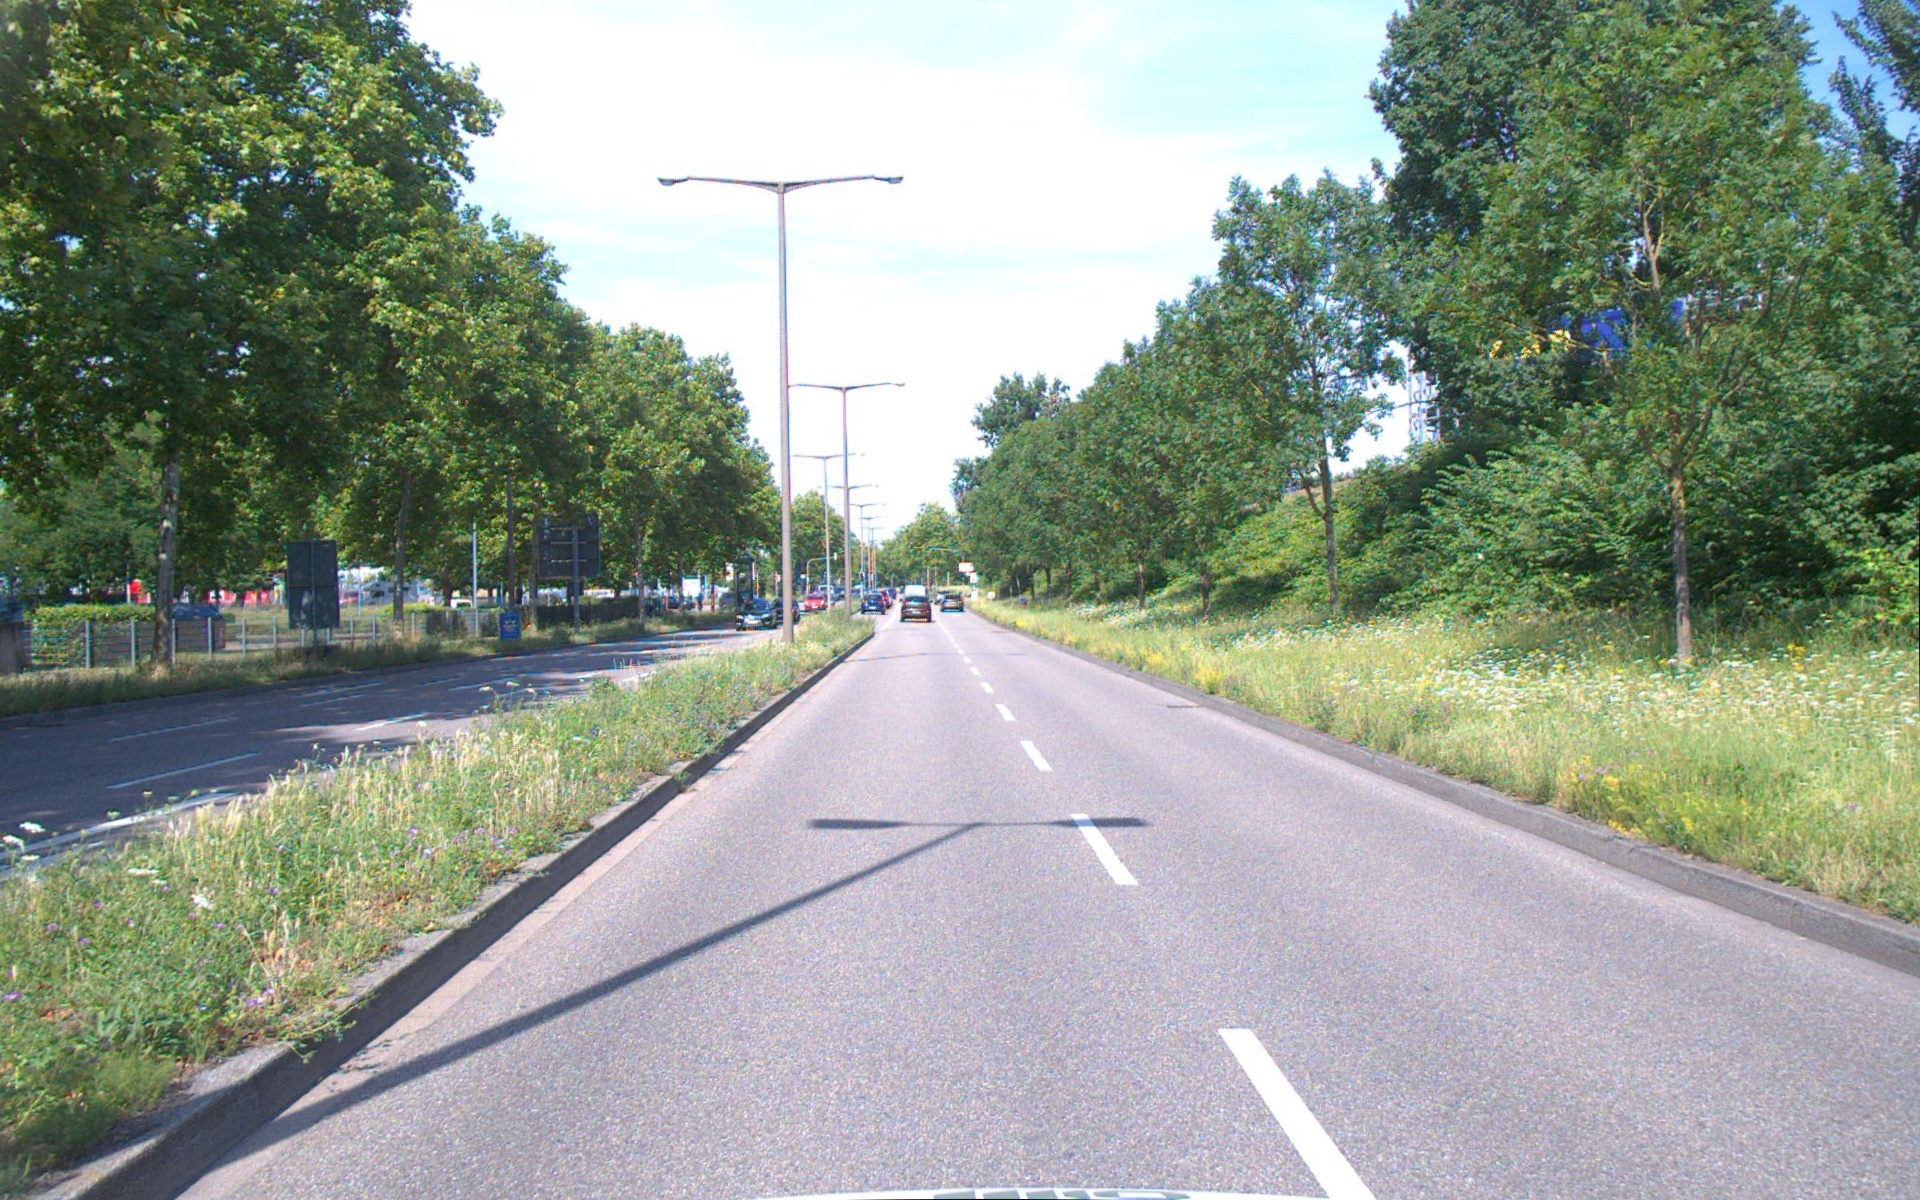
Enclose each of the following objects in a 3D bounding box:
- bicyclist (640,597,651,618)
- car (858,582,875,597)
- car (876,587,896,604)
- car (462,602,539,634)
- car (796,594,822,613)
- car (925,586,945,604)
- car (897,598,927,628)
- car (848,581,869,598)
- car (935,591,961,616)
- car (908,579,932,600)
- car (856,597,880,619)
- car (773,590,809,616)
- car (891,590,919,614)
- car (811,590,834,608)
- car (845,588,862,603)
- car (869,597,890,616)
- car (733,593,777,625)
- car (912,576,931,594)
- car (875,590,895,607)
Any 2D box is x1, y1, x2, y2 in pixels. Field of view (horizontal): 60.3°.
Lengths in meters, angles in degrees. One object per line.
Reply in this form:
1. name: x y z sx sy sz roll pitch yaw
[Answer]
1. bicyclist: -23.599 0.574 124.122 0.667 1.511 0.941 -1 0 -2
2. car: -11.882 -1.289 210.884 1.953 1.892 4.000 -1 0 0
3. car: -7.307 -0.451 163.493 1.843 1.646 4.211 0 0 -2
4. car: -26.940 1.068 97.049 3.904 1.855 2.157 0 -1 2
5. car: -12.257 0.280 134.233 1.727 1.488 3.999 -2 0 -1
6. car: -2.553 -0.494 168.412 1.953 1.738 4.262 -1 0 -2
7. car: -2.842 0.746 97.912 1.701 1.562 4.000 0 2 -1
8. car: -10.576 -1.060 172.481 1.953 1.738 4.262 -1 0 -2
9. car: -0.943 0.261 131.718 1.977 1.869 4.000 0 2 -1
10. car: -3.468 -0.920 143.826 1.953 1.738 4.262 -1 0 -1
11. car: -6.631 0.532 119.104 1.593 1.509 4.047 1 0 -2
12. car: -10.347 0.164 101.546 1.736 1.493 4.670 -2 0 -1
13. car: -4.091 0.104 123.144 1.953 1.713 3.999 -1 1 -2
14. car: -12.210 -0.057 146.923 1.802 1.504 4.164 -1 0 -2
15. car: -13.999 -0.581 217.245 1.952 1.806 4.000 -1 0 1
16. car: -6.820 0.530 140.784 1.746 1.620 4.591 0 0 -2
17. car: -10.158 0.423 82.384 1.791 1.493 4.985 -1 0 -3
18. car: -4.523 -1.795 194.265 1.955 2.049 3.996 -1 0 -5
19. car: -6.820 -0.190 150.003 1.730 1.505 4.134 1 0 -2
